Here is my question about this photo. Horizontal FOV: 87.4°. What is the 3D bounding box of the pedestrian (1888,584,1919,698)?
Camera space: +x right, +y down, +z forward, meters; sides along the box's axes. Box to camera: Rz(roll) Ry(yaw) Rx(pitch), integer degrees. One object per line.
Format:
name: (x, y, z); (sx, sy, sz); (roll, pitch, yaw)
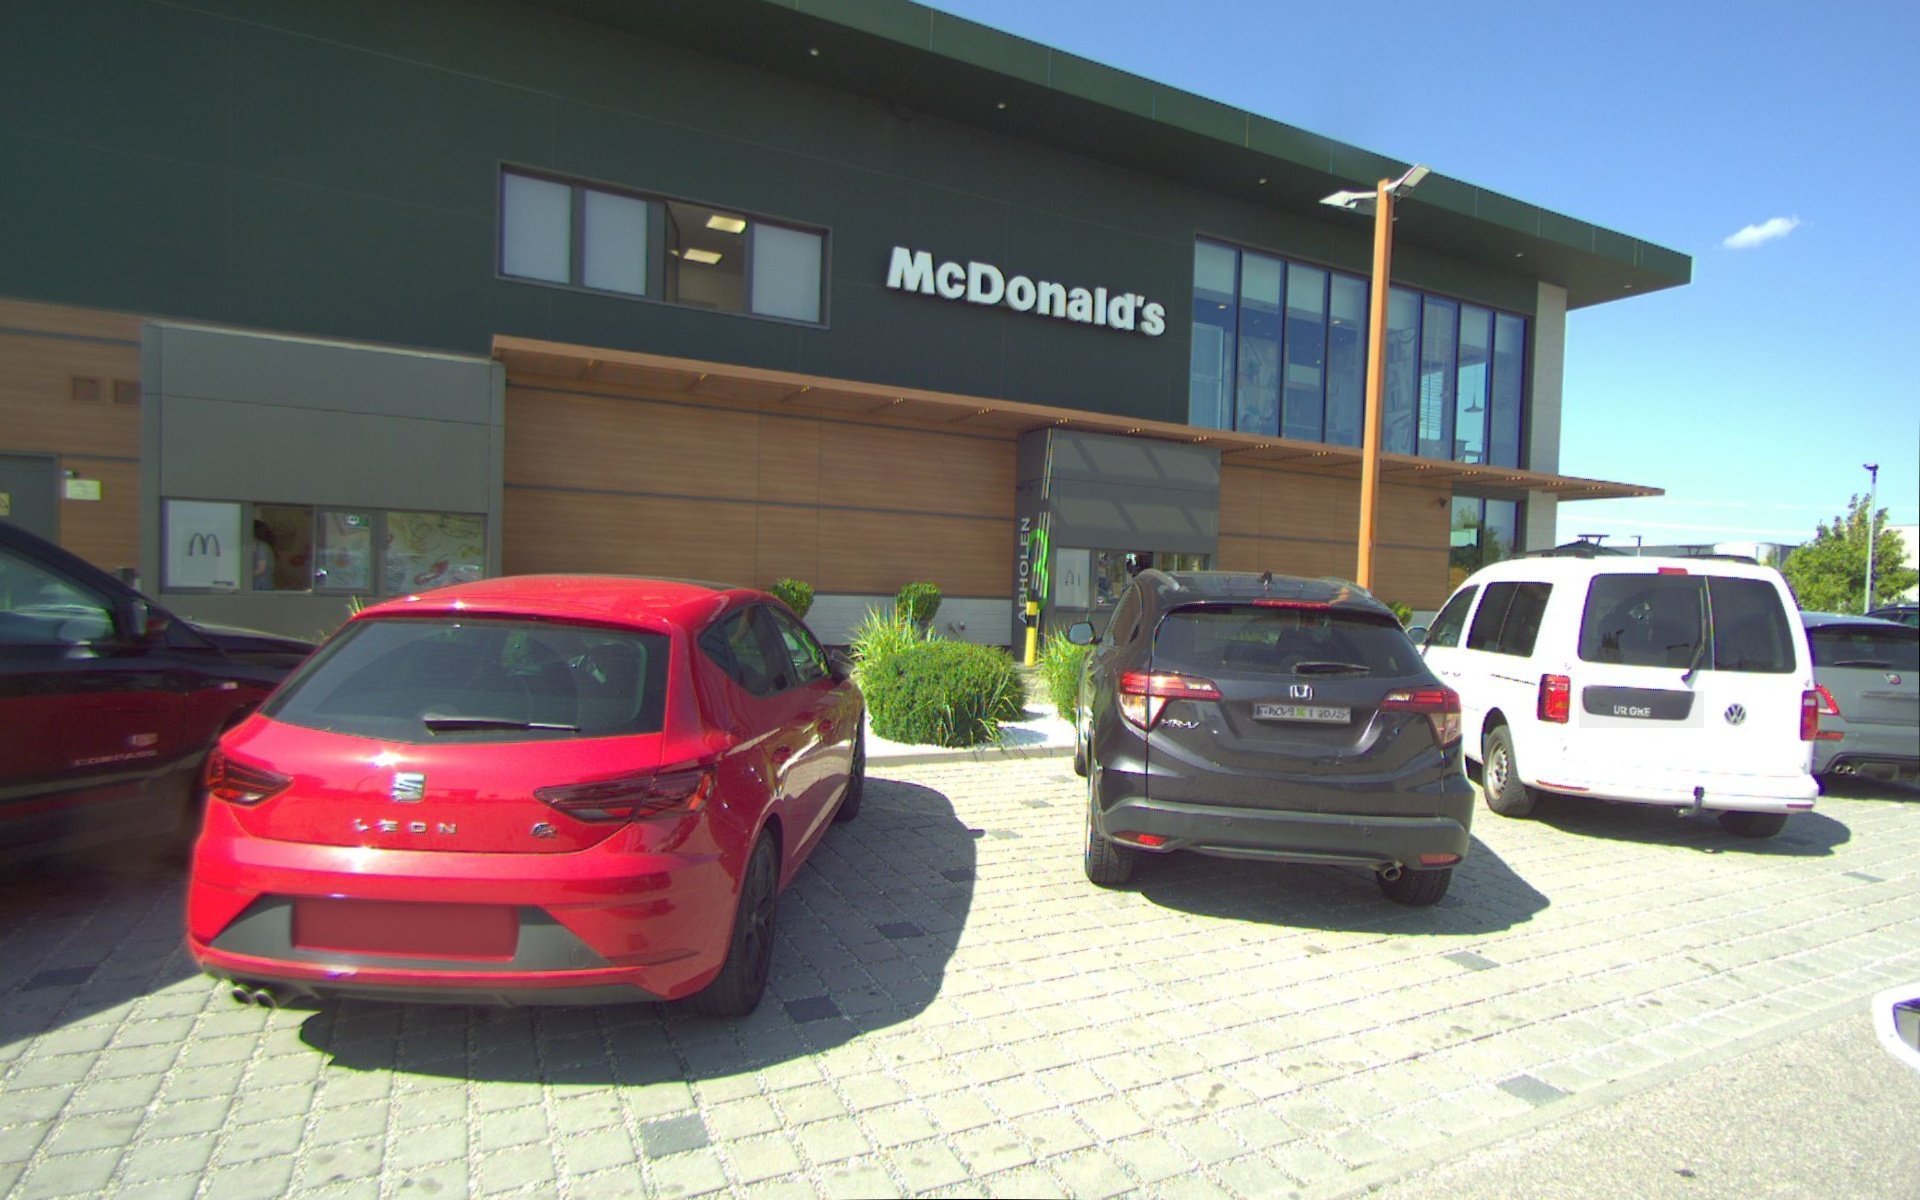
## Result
pedestrian: (15.524, 0.657, 16.064); (0.888, 1.792, 0.795); (1, 1, -36)

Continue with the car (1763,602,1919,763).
car: (10.892, 0.860, 11.050); (1.755, 1.624, 4.228); (2, 0, 17)

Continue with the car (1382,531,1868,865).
car: (4.849, 0.571, 8.130); (1.722, 1.947, 4.147); (2, 0, 10)

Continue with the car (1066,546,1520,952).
car: (1.597, 0.616, 6.173); (1.723, 1.654, 3.846); (2, 0, 4)

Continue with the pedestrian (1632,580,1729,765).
pedestrian: (6.885, 0.676, 9.621); (0.601, 1.707, 0.443); (2, 1, 18)

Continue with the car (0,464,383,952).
car: (-4.236, 0.357, 3.441); (1.641, 1.728, 4.041); (2, 1, 11)

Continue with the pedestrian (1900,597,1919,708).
pedestrian: (14.294, 0.770, 14.524); (0.729, 1.605, 0.726); (1, 1, -17)

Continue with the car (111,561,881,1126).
car: (-1.402, 0.618, 4.568); (1.642, 1.463, 3.773); (2, 1, 2)

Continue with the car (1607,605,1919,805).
car: (7.761, 0.839, 9.523); (1.536, 1.502, 3.417); (2, 1, 11)
